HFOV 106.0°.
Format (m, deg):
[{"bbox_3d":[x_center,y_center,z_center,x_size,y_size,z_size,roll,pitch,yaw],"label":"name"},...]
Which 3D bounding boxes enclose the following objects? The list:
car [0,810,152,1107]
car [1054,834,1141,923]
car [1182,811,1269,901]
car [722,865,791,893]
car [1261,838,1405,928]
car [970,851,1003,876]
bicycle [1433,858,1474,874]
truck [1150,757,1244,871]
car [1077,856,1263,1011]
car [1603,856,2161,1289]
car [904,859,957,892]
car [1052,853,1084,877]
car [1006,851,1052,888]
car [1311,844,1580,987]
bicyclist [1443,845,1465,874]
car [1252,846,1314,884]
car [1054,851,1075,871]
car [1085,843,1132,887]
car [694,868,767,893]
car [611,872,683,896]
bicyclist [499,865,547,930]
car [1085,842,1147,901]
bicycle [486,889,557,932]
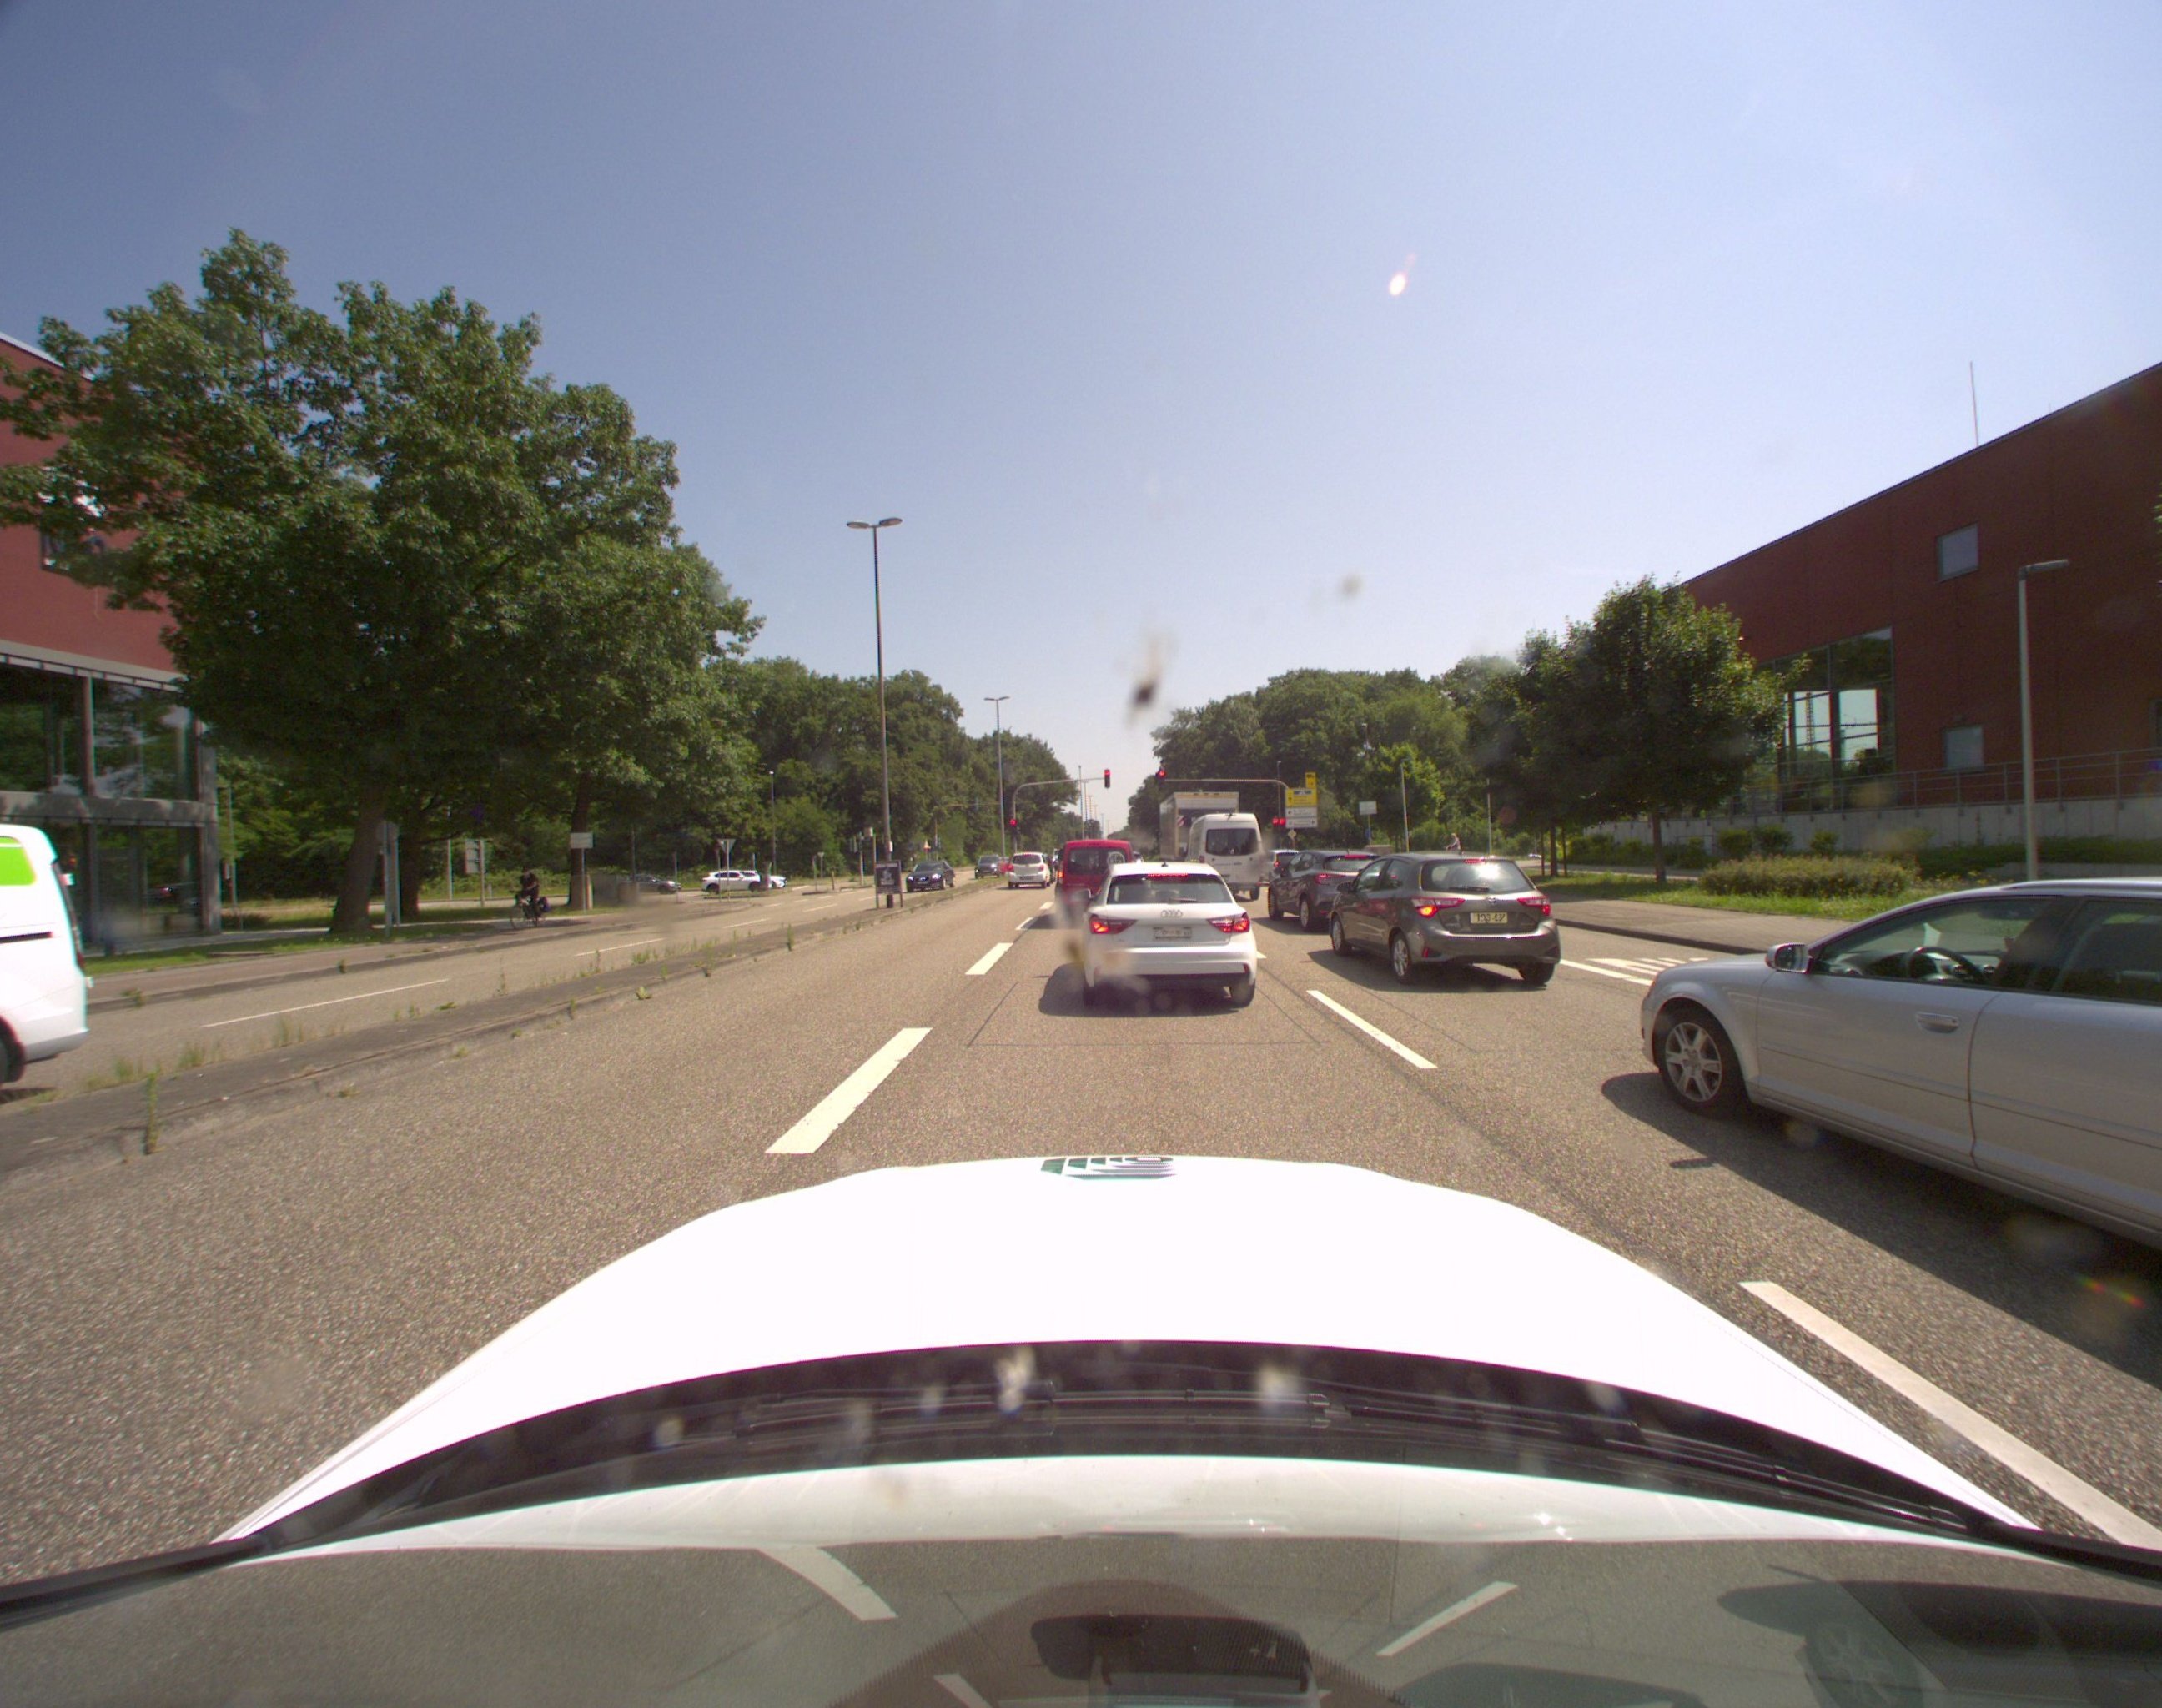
[{"bbox_3d":[-8.144,0.758,3.725,1.987,1.945,4.909,-4,0,1],"label":"car"},{"bbox_3d":[0.349,0.490,18.277,1.706,1.748,4.092,-1,0,0],"label":"car"},{"bbox_3d":[4.576,0.051,26.499,2.024,2.644,4.846,-1,0,1],"label":"car"},{"bbox_3d":[-24.292,1.857,61.057,4.366,1.681,1.807,-5,0,-6],"label":"car"},{"bbox_3d":[4.976,0.517,16.667,1.706,1.593,4.092,-1,0,0],"label":"car"},{"bbox_3d":[-6.653,0.667,57.715,1.681,1.600,3.885,-5,0,0],"label":"car"},{"bbox_3d":[19.177,0.619,41.958,1.815,0.766,0.601,-2,0,0],"label":"bicycle"},{"bbox_3d":[5.057,-1.578,37.761,3.076,4.434,11.586,-1,0,2],"label":"truck"},{"bbox_3d":[0.845,0.742,9.587,1.706,1.386,4.092,-1,0,0],"label":"car"},{"bbox_3d":[4.295,0.700,3.357,1.706,1.362,4.092,0,0,0],"label":"car"},{"bbox_3d":[-7.092,0.968,38.715,1.673,1.339,4.000,-5,0,0],"label":"car"},{"bbox_3d":[-1.210,0.966,73.439,1.996,2.013,3.982,-2,0,-13],"label":"car"},{"bbox_3d":[-2.212,0.642,35.833,1.706,1.492,4.092,-1,0,0],"label":"car"},{"bbox_3d":[4.447,0.646,10.684,1.706,1.478,4.092,2,0,0],"label":"car"},{"bbox_3d":[19.209,0.262,41.968,0.824,1.439,0.599,-2,0,-1],"label":"bicyclist"},{"bbox_3d":[8.822,0.458,35.837,1.706,1.546,4.092,-1,0,0],"label":"car"},{"bbox_3d":[-1.751,0.724,85.046,1.989,2.013,3.995,-2,0,-3],"label":"car"},{"bbox_3d":[1.051,0.403,32.564,1.706,1.631,4.092,-1,0,0],"label":"car"},{"bbox_3d":[-24.503,1.849,57.048,4.365,1.681,1.807,0,-1,-6],"label":"car"},{"bbox_3d":[-32.049,2.221,60.249,4.370,1.681,1.804,0,-1,-10],"label":"car"},{"bbox_3d":[-15.848,1.215,23.148,0.647,1.770,0.928,-2,0,2],"label":"bicyclist"},{"bbox_3d":[1.005,0.487,24.747,1.706,1.631,4.092,-1,0,0],"label":"car"},{"bbox_3d":[-15.839,1.585,23.114,0.652,1.051,1.885,-2,0,2],"label":"bicycle"}]
